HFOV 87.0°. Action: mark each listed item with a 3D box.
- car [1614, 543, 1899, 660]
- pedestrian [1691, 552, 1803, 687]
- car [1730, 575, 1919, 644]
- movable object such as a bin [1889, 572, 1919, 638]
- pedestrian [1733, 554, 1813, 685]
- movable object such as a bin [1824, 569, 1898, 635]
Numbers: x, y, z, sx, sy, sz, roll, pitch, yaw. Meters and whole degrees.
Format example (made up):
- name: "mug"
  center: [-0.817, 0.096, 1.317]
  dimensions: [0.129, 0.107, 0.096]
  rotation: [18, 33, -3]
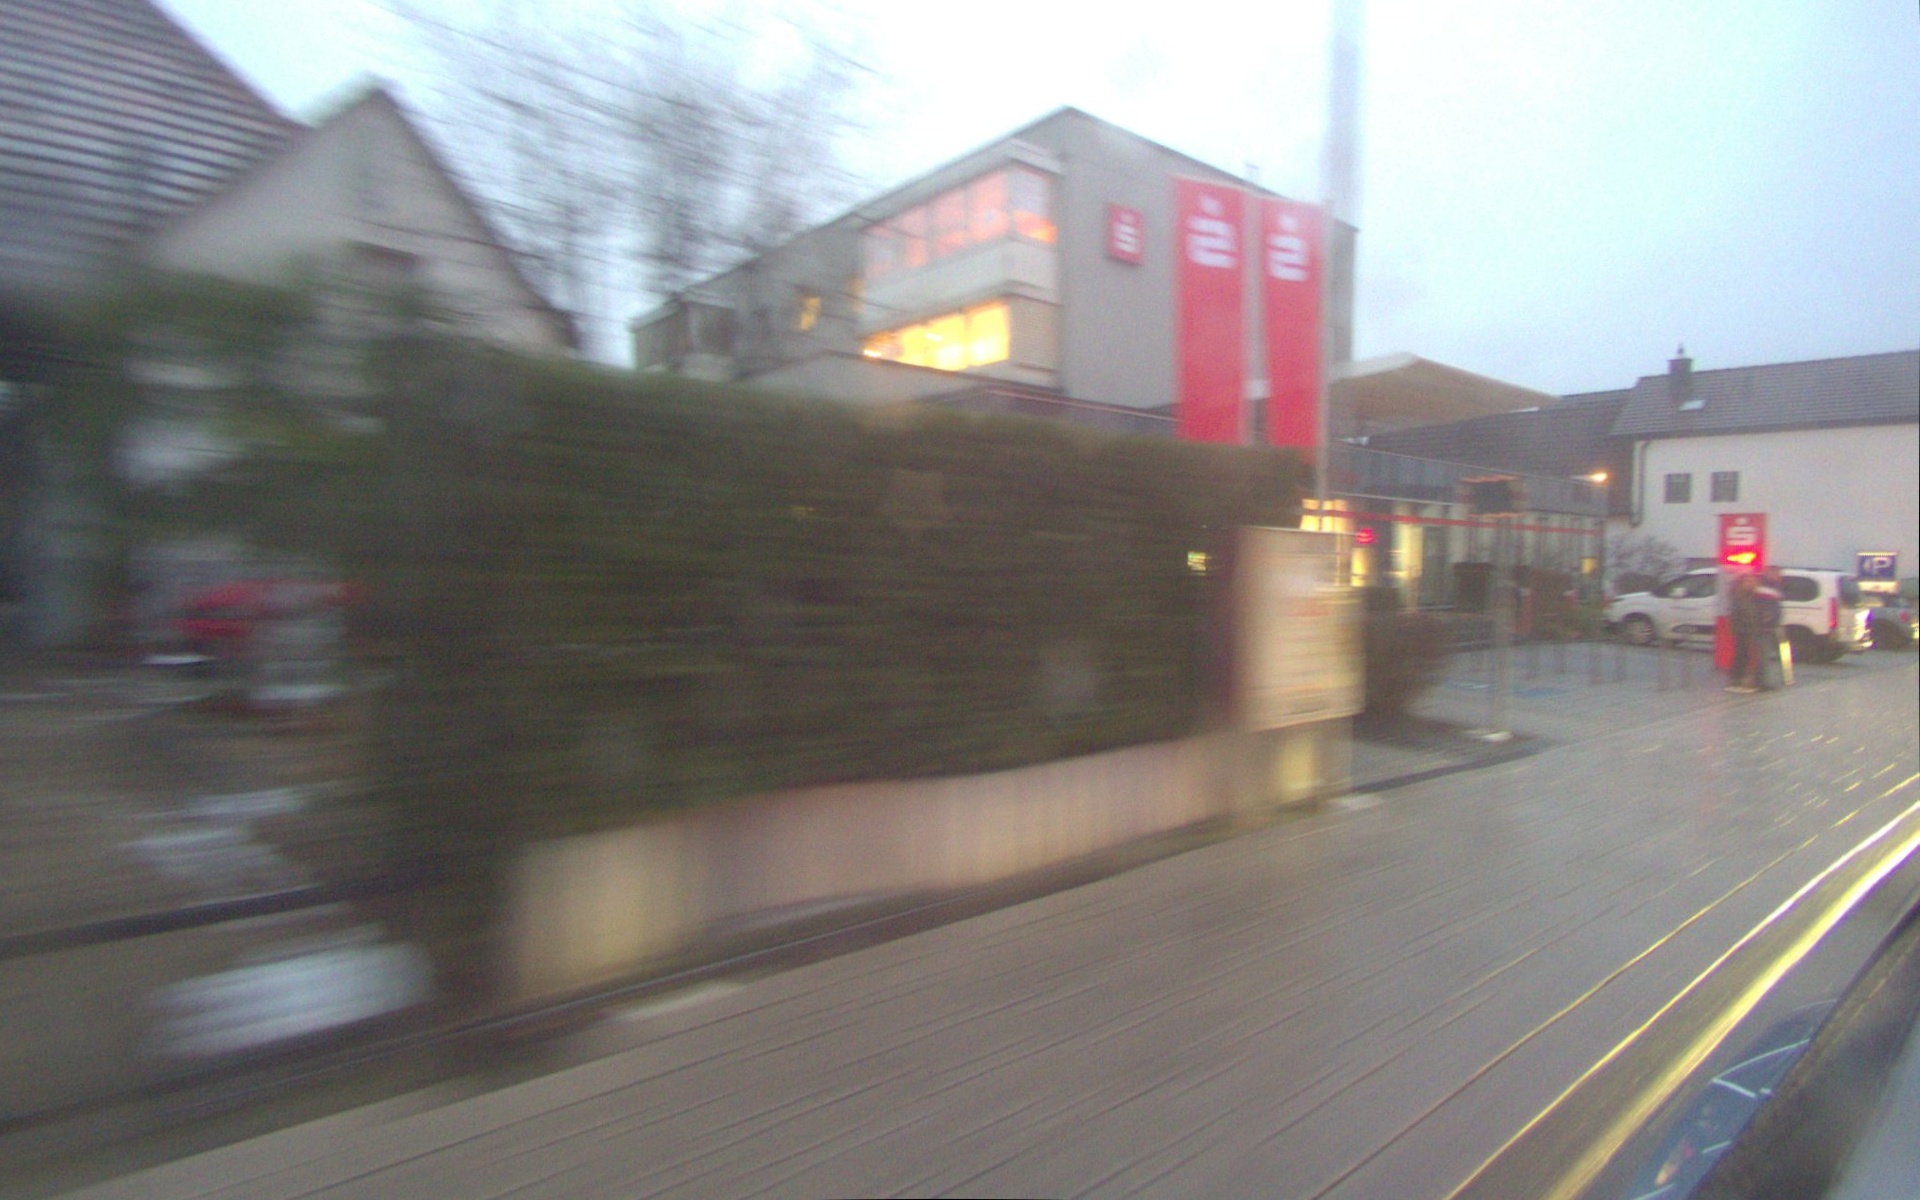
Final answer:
- name: "car"
  center: [16.260, -0.072, 20.889]
  dimensions: [1.960, 2.074, 4.110]
  rotation: [0, 4, -31]
- name: "pedestrian"
  center: [10.571, 0.244, 13.610]
  dimensions: [0.828, 1.726, 0.840]
  rotation: [1, 3, -28]
- name: "car"
  center: [22.431, 0.183, 25.846]
  dimensions: [1.877, 1.504, 4.000]
  rotation: [-1, 3, -37]
- name: "movable object such as a bin"
  center: [25.231, 0.156, 26.314]
  dimensions: [1.240, 1.664, 1.395]
  rotation: [0, 4, -42]
- name: "pedestrian"
  center: [11.259, 0.241, 14.014]
  dimensions: [0.900, 1.726, 0.704]
  rotation: [0, 2, -44]
- name: "movable object such as a bin"
  center: [24.390, 0.033, 27.389]
  dimensions: [1.165, 1.663, 1.288]
  rotation: [0, 4, -43]
